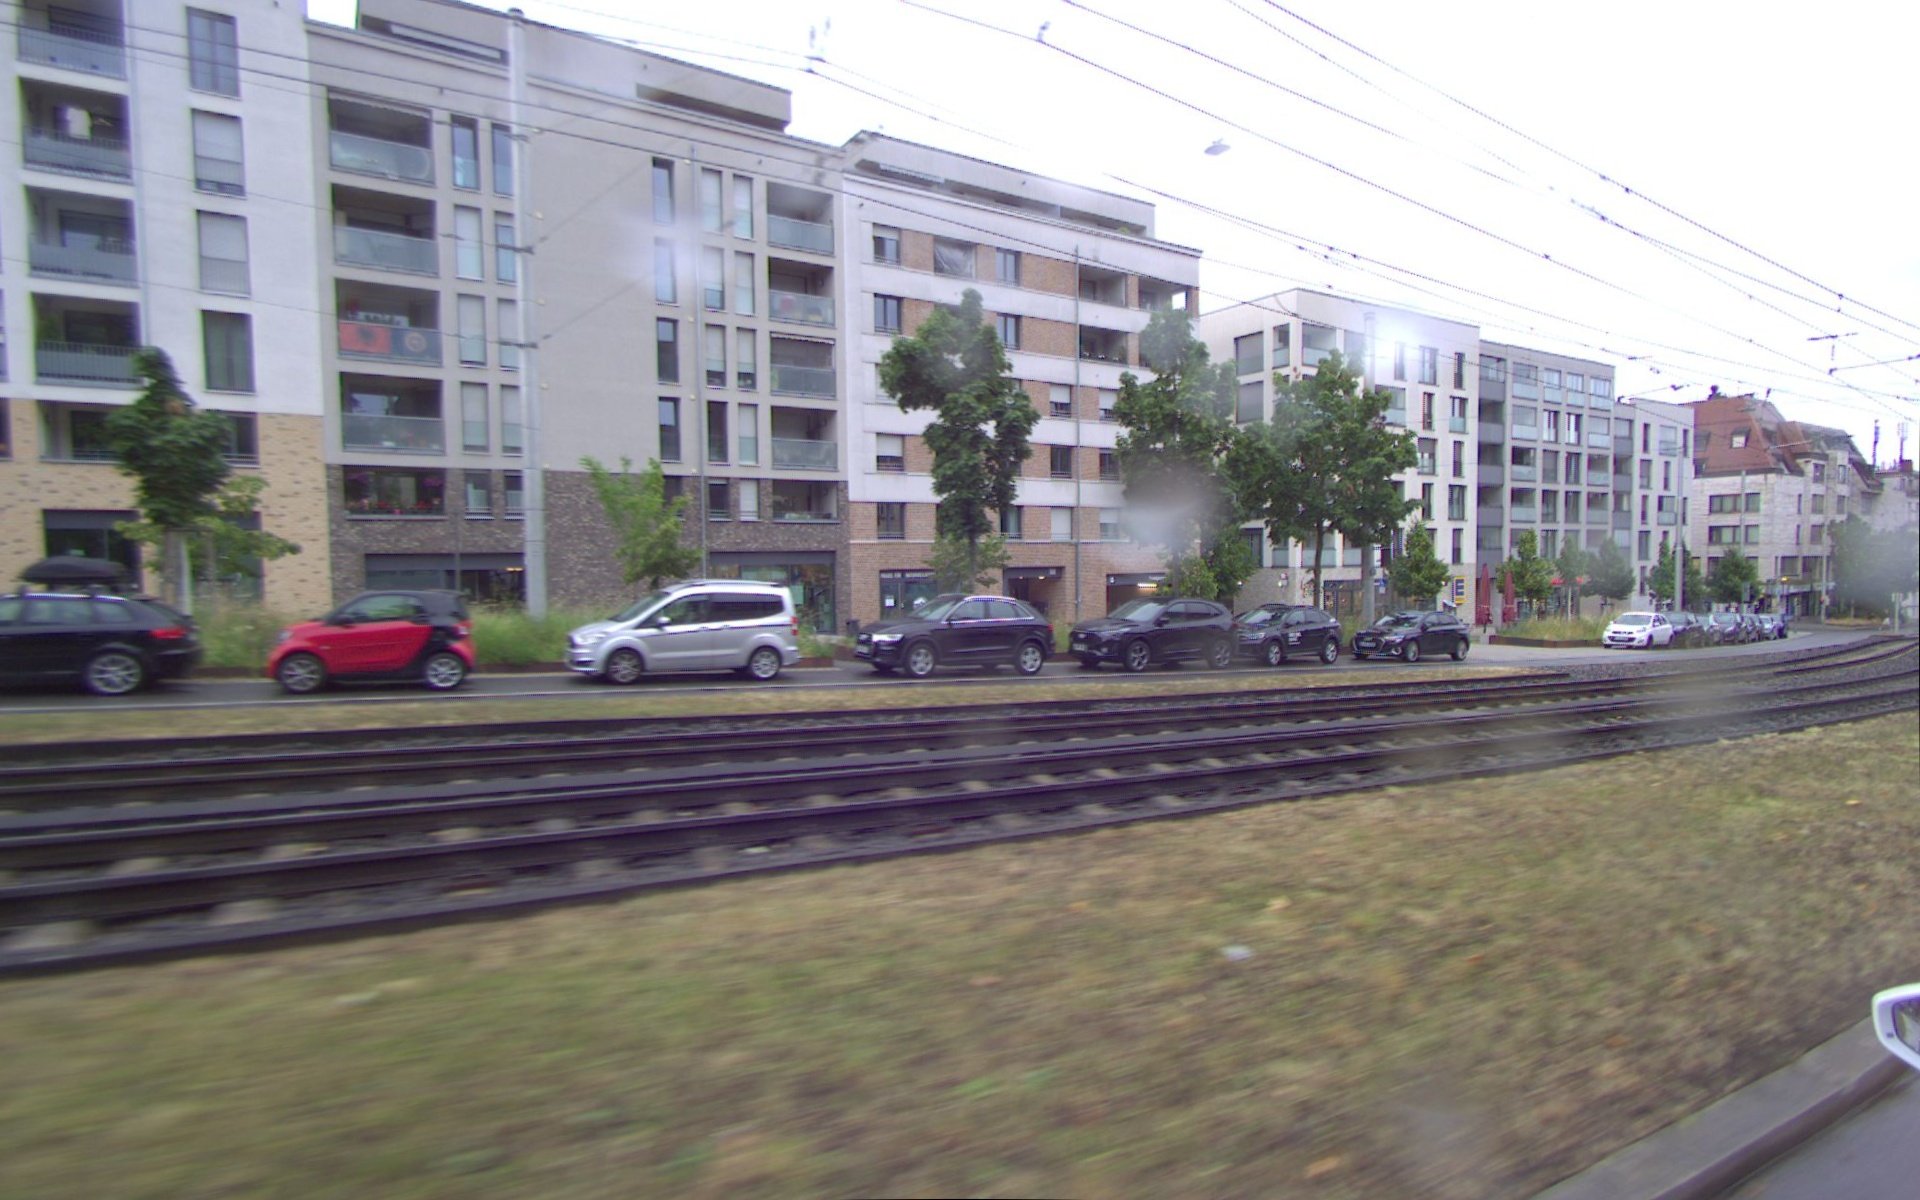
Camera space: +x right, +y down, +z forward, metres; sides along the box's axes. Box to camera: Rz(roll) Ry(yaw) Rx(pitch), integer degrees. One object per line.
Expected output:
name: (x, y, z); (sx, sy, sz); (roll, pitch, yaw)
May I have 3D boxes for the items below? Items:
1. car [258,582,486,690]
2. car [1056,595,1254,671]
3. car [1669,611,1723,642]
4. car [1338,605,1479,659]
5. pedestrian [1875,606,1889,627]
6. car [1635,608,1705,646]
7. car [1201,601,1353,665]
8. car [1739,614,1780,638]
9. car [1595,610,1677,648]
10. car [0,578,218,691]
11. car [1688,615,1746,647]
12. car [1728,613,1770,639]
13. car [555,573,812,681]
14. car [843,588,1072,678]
car: (-9.046, 0.519, 15.688); (2.890, 1.551, 1.465); (1, 1, -24)
car: (4.645, 0.737, 23.688); (4.648, 1.605, 1.792); (1, 1, -33)
car: (35.625, 1.264, 48.592); (3.427, 1.454, 1.534); (1, 0, -43)
car: (13.335, 0.917, 29.814); (4.158, 1.450, 1.953); (1, 1, -35)
pedestrian: (85.998, 1.543, 93.715); (0.895, 1.958, 0.821); (2, 1, 42)
car: (31.771, 1.183, 44.921); (4.375, 1.582, 1.749); (1, 0, -43)
car: (8.486, 0.842, 26.724); (4.218, 1.509, 1.724); (1, 1, -37)
car: (53.862, 1.722, 67.659); (1.891, 1.524, 4.213); (1, 0, 42)
car: (28.387, 1.195, 42.162); (3.699, 1.499, 1.753); (1, 0, -37)
car: (-13.158, 0.448, 13.968); (4.343, 1.467, 1.544); (1, 2, -28)
car: (39.254, 1.572, 52.075); (4.288, 1.533, 1.703); (1, 0, -43)
car: (49.118, 1.616, 62.475); (1.753, 1.524, 4.061); (1, 0, 42)
car: (-4.957, 0.449, 18.167); (4.207, 1.771, 1.655); (1, 1, -30)
car: (-0.003, 0.641, 20.802); (4.478, 1.666, 1.723); (1, 1, -31)
